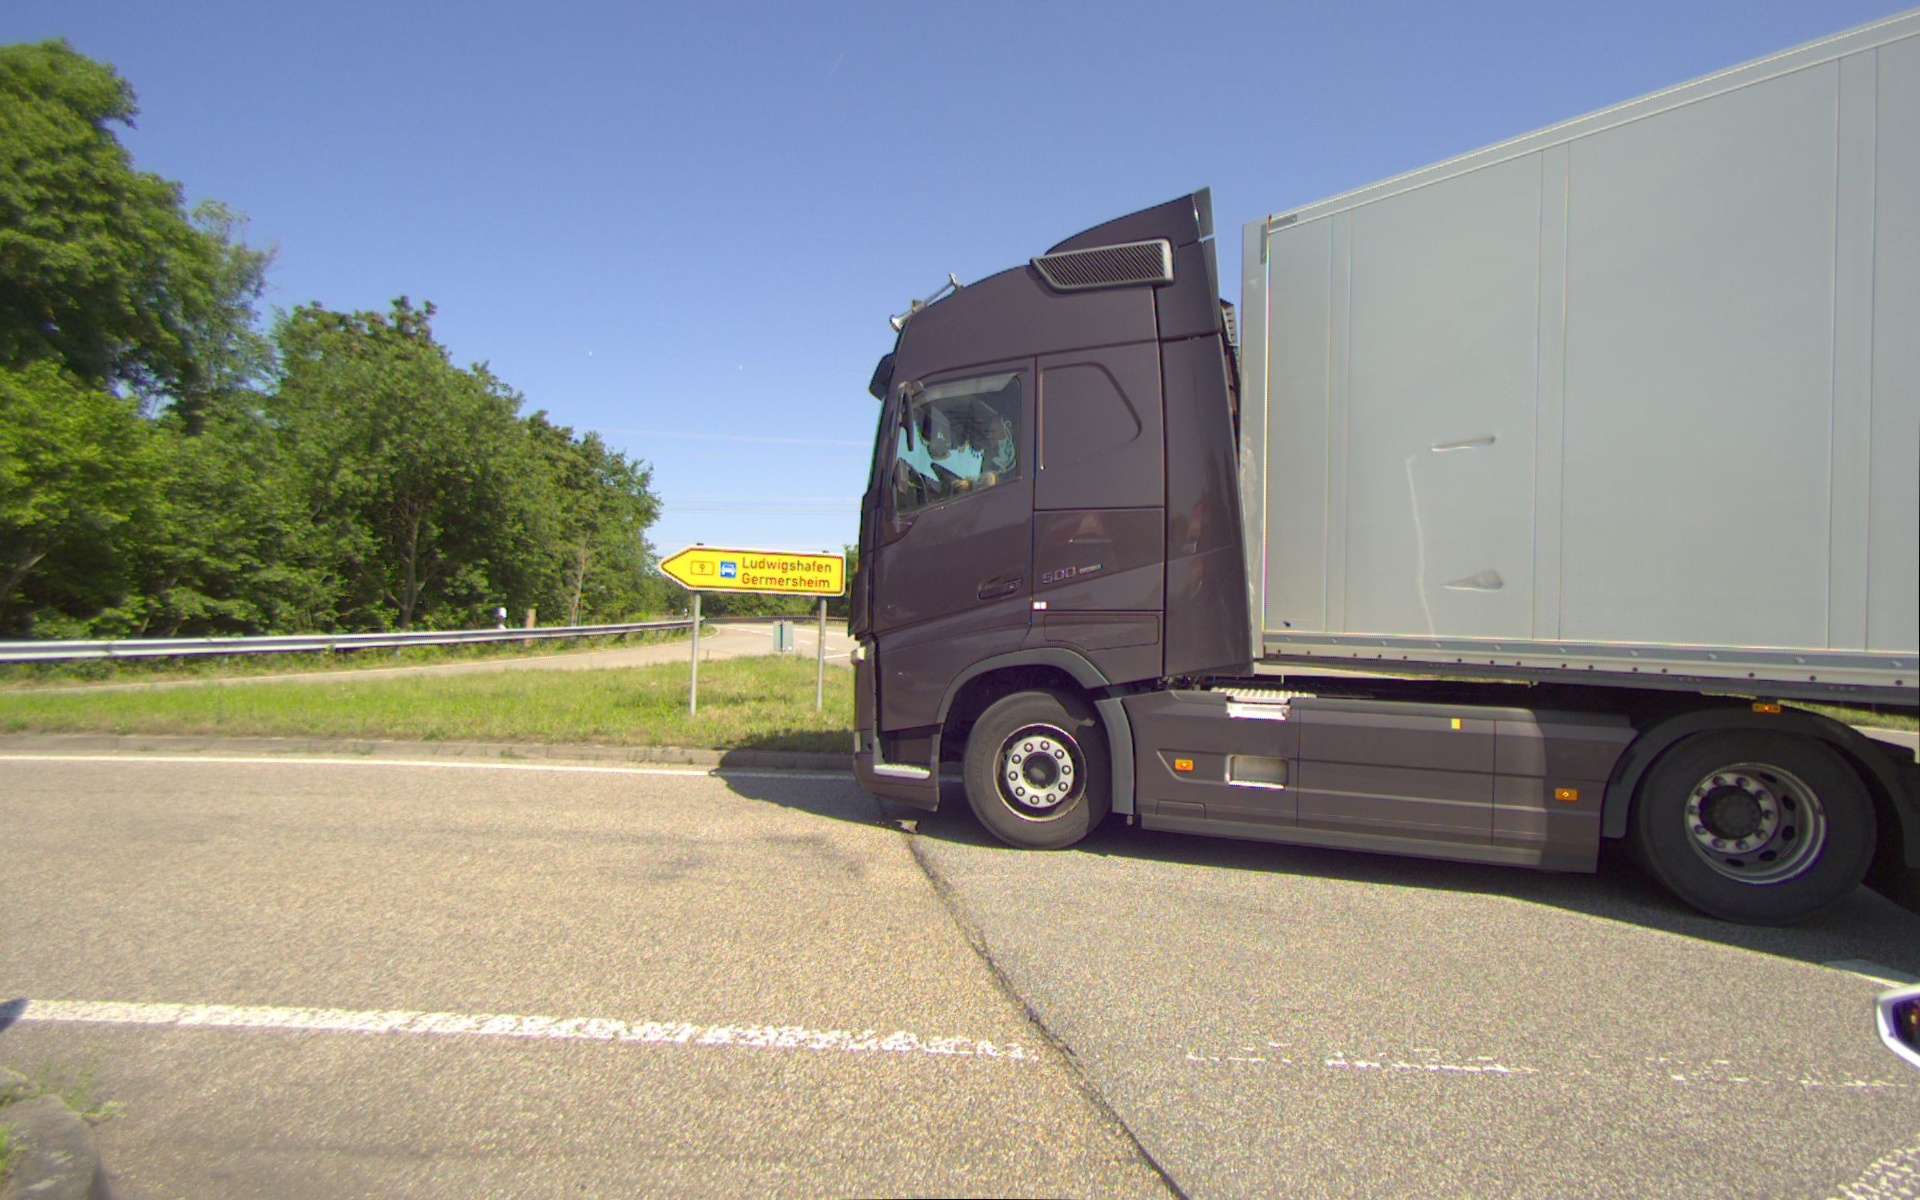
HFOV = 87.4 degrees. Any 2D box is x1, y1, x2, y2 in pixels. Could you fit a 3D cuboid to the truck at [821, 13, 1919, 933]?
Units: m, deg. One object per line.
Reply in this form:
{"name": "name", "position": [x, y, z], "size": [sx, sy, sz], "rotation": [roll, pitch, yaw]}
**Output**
{"name": "truck", "position": [2.352, -0.579, 6.860], "size": [5.852, 4.229, 2.880], "rotation": [0, -1, 19]}

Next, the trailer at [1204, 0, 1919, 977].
{"name": "trailer", "position": [7.179, -0.537, 2.476], "size": [2.873, 4.221, 13.819], "rotation": [1, 0, -40]}
